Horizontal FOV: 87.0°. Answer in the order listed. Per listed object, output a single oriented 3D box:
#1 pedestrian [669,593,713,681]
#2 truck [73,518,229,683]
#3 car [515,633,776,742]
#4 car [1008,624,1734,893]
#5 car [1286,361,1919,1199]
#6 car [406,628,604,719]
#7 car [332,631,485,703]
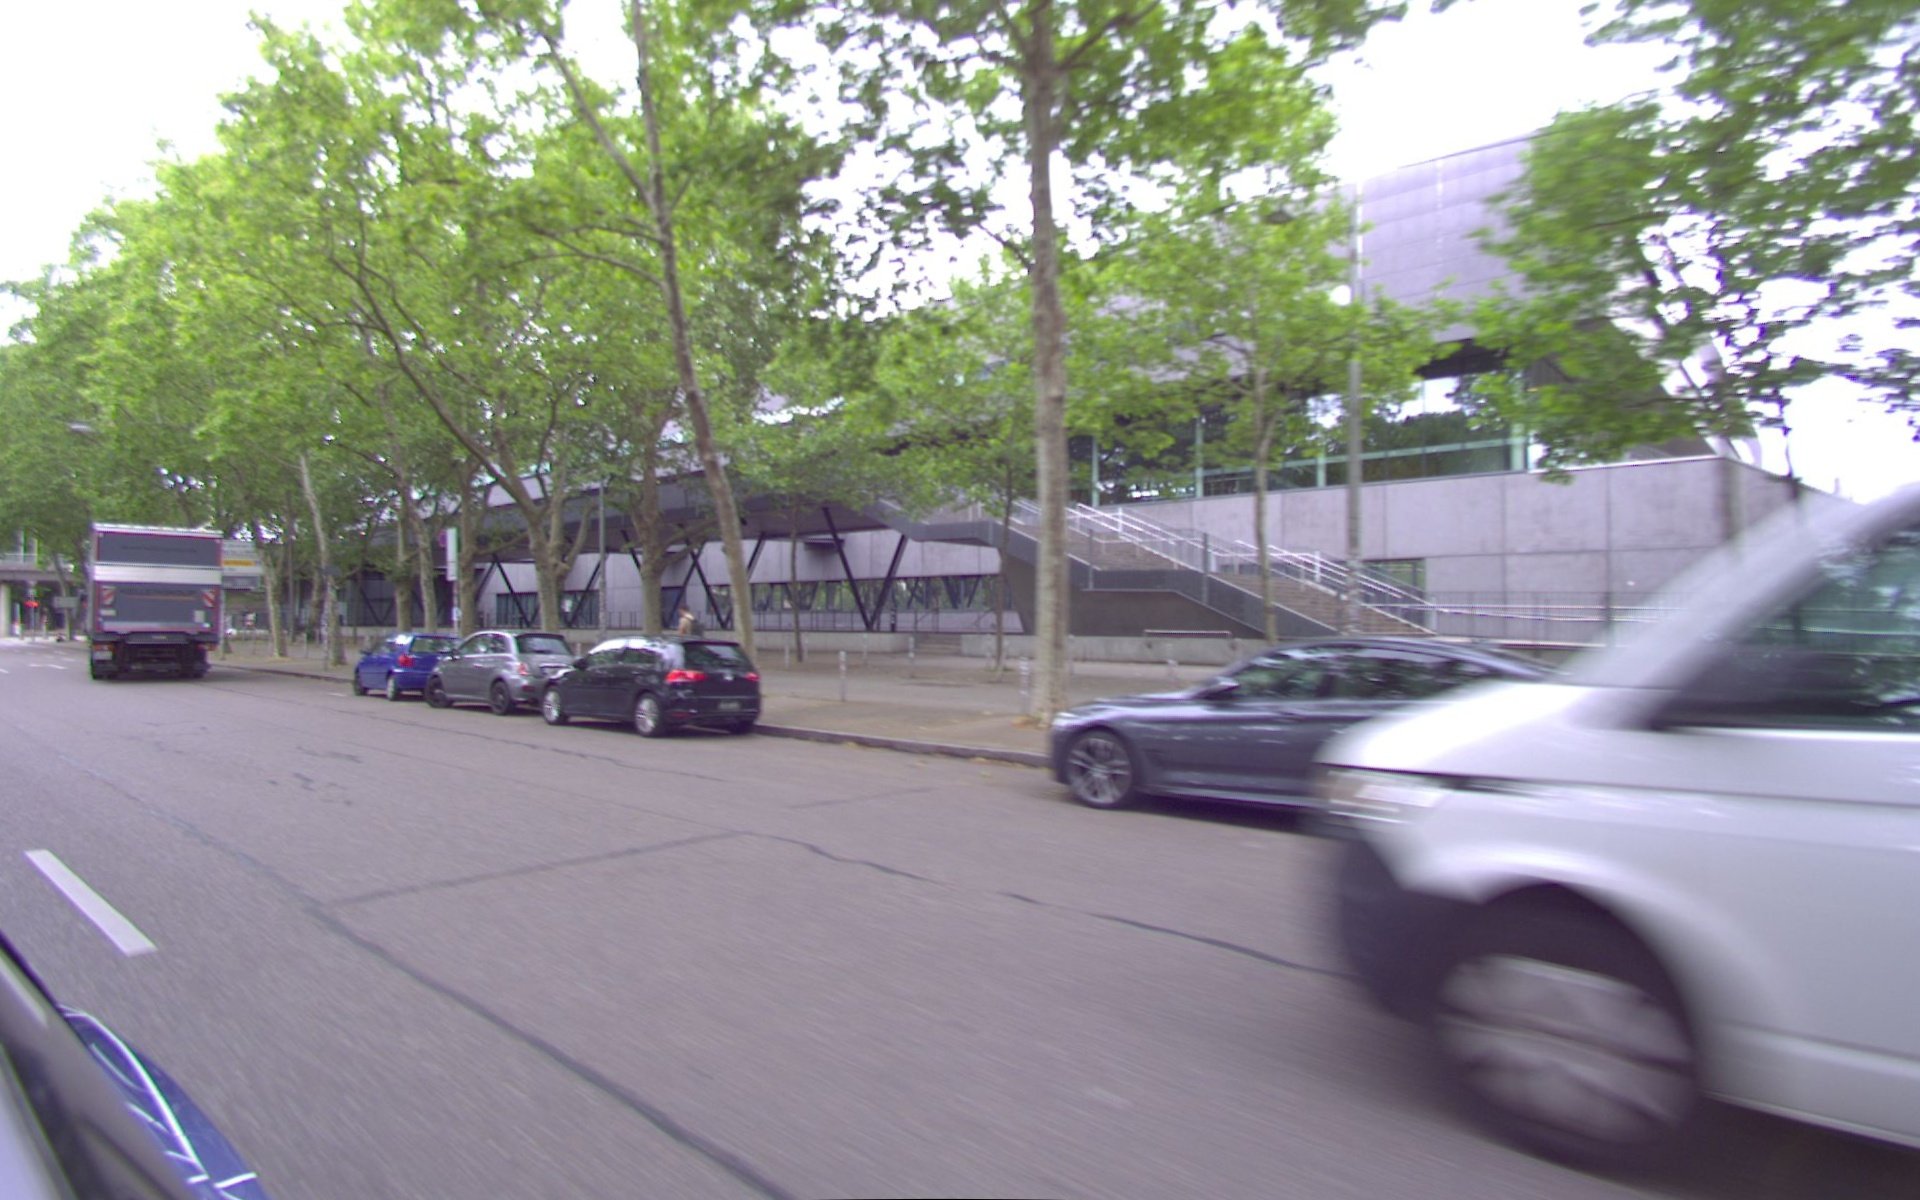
[{"bbox_3d":[-5.780,0.791,21.758,0.825,1.854,0.502,-1,-2,35],"label":"pedestrian"},{"bbox_3d":[-23.003,0.099,28.518,2.874,3.898,9.480,3,-2,-41],"label":"truck"},{"bbox_3d":[-4.825,1.240,15.207,4.329,1.392,1.690,-1,-5,41],"label":"car"},{"bbox_3d":[2.918,0.953,7.952,4.988,1.496,1.801,-1,-3,39],"label":"car"},{"bbox_3d":[3.722,0.463,2.082,5.464,1.976,2.037,-2,-2,42],"label":"car"},{"bbox_3d":[-8.373,1.303,18.545,3.644,1.489,1.679,-1,-5,36],"label":"car"},{"bbox_3d":[-11.889,1.398,21.703,4.001,1.372,1.675,-2,-6,44],"label":"car"}]
